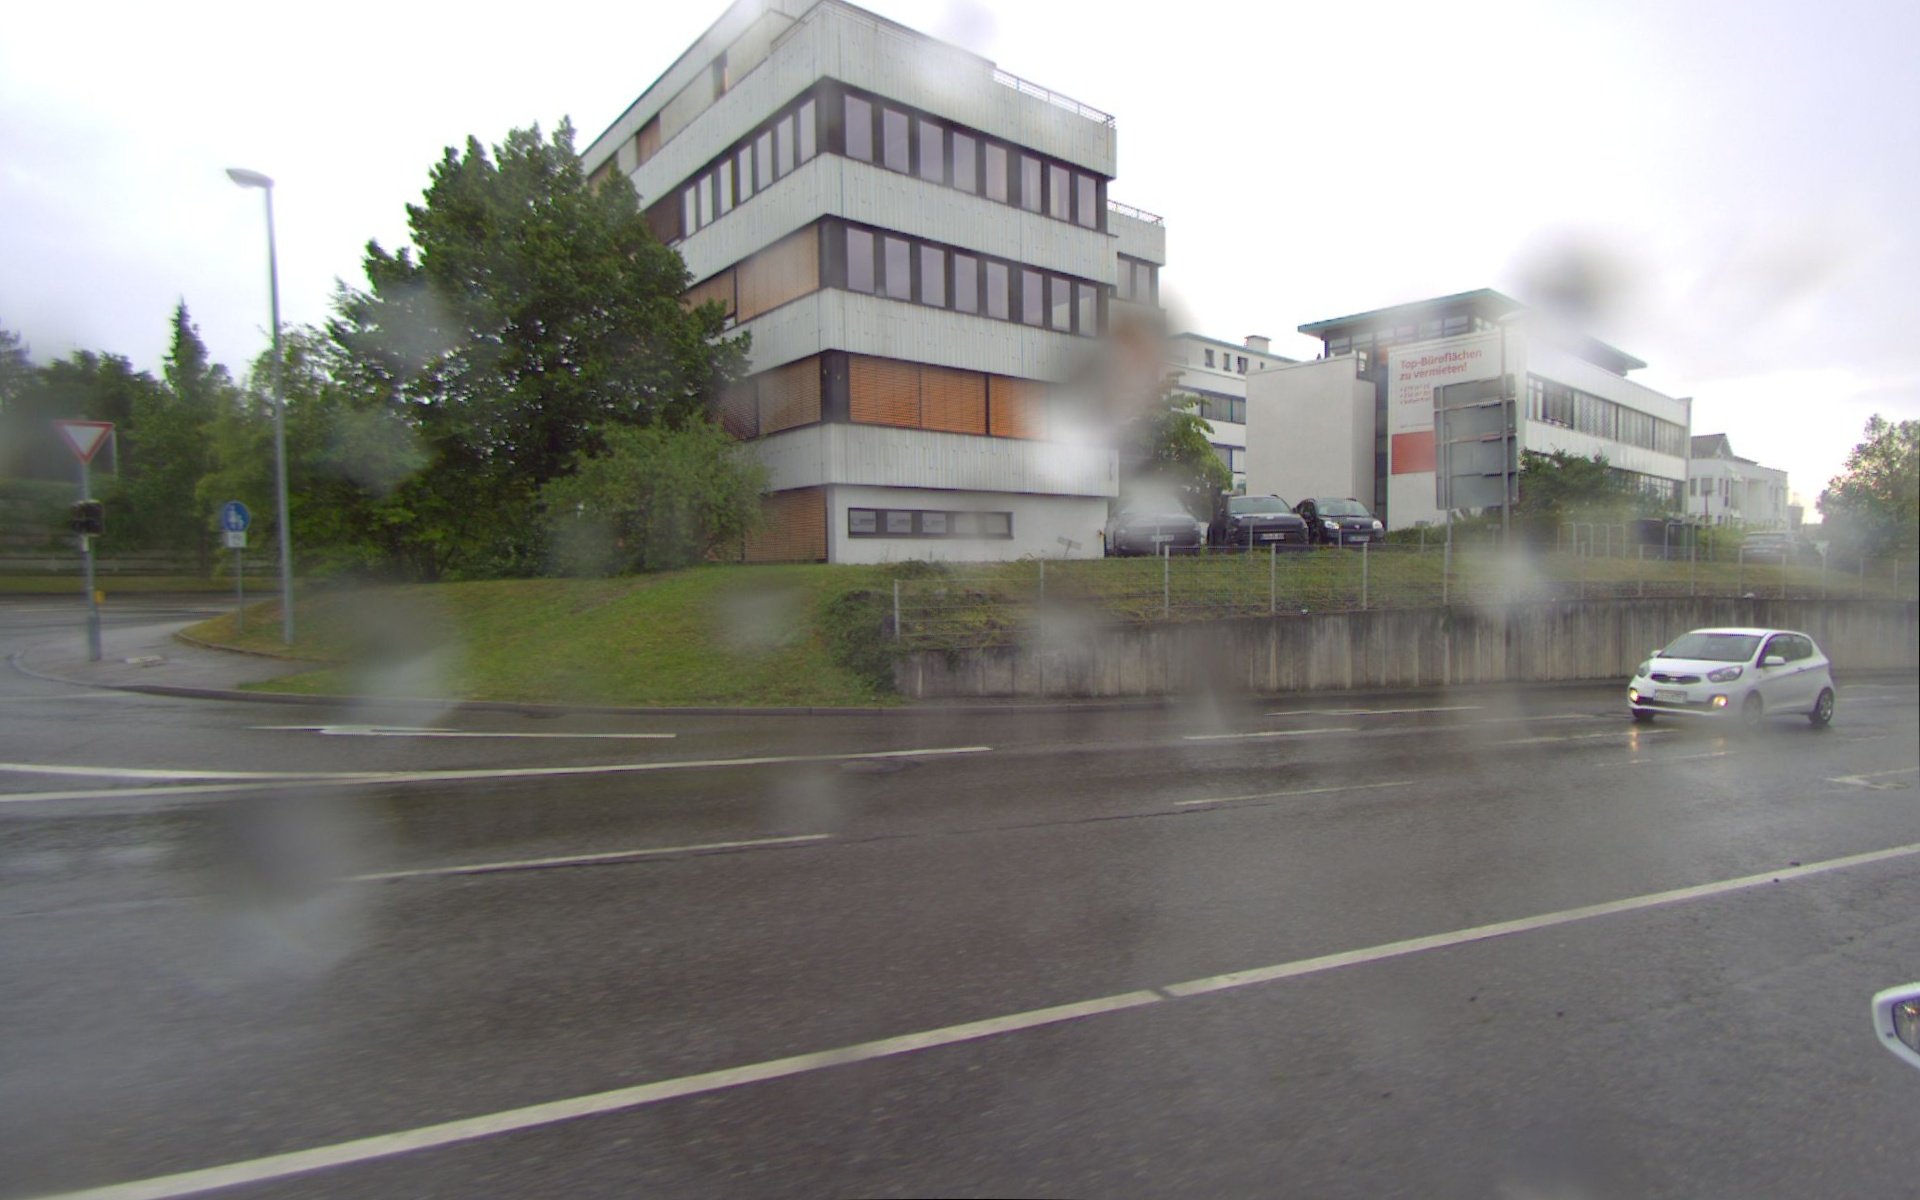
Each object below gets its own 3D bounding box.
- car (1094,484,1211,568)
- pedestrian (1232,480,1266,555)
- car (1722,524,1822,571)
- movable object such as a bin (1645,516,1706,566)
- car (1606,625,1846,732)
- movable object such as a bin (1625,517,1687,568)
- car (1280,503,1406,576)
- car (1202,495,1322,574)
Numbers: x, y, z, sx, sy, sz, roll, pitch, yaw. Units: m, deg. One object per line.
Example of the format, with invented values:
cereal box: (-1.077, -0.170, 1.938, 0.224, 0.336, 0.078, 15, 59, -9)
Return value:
car: (4.235, -1.594, 22.754, 1.865, 1.607, 4.000, 3, 1, 1)
pedestrian: (6.235, -1.769, 21.694, 0.493, 1.571, 0.519, 1, 1, -9)
car: (29.873, -1.901, 36.934, 3.960, 1.461, 1.815, 2, 2, -35)
movable object such as a bin: (22.356, -1.842, 31.369, 1.432, 1.456, 1.076, 2, 2, -35)
car: (12.221, 1.166, 16.001, 3.746, 1.448, 1.646, 0, 1, -28)
movable object such as a bin: (21.169, -1.741, 30.546, 1.432, 1.456, 1.076, 2, 2, -35)
car: (9.633, -1.476, 25.587, 1.864, 1.607, 4.001, 3, 1, 4)
car: (7.103, -1.489, 24.008, 1.864, 1.607, 4.001, 3, 1, 4)
